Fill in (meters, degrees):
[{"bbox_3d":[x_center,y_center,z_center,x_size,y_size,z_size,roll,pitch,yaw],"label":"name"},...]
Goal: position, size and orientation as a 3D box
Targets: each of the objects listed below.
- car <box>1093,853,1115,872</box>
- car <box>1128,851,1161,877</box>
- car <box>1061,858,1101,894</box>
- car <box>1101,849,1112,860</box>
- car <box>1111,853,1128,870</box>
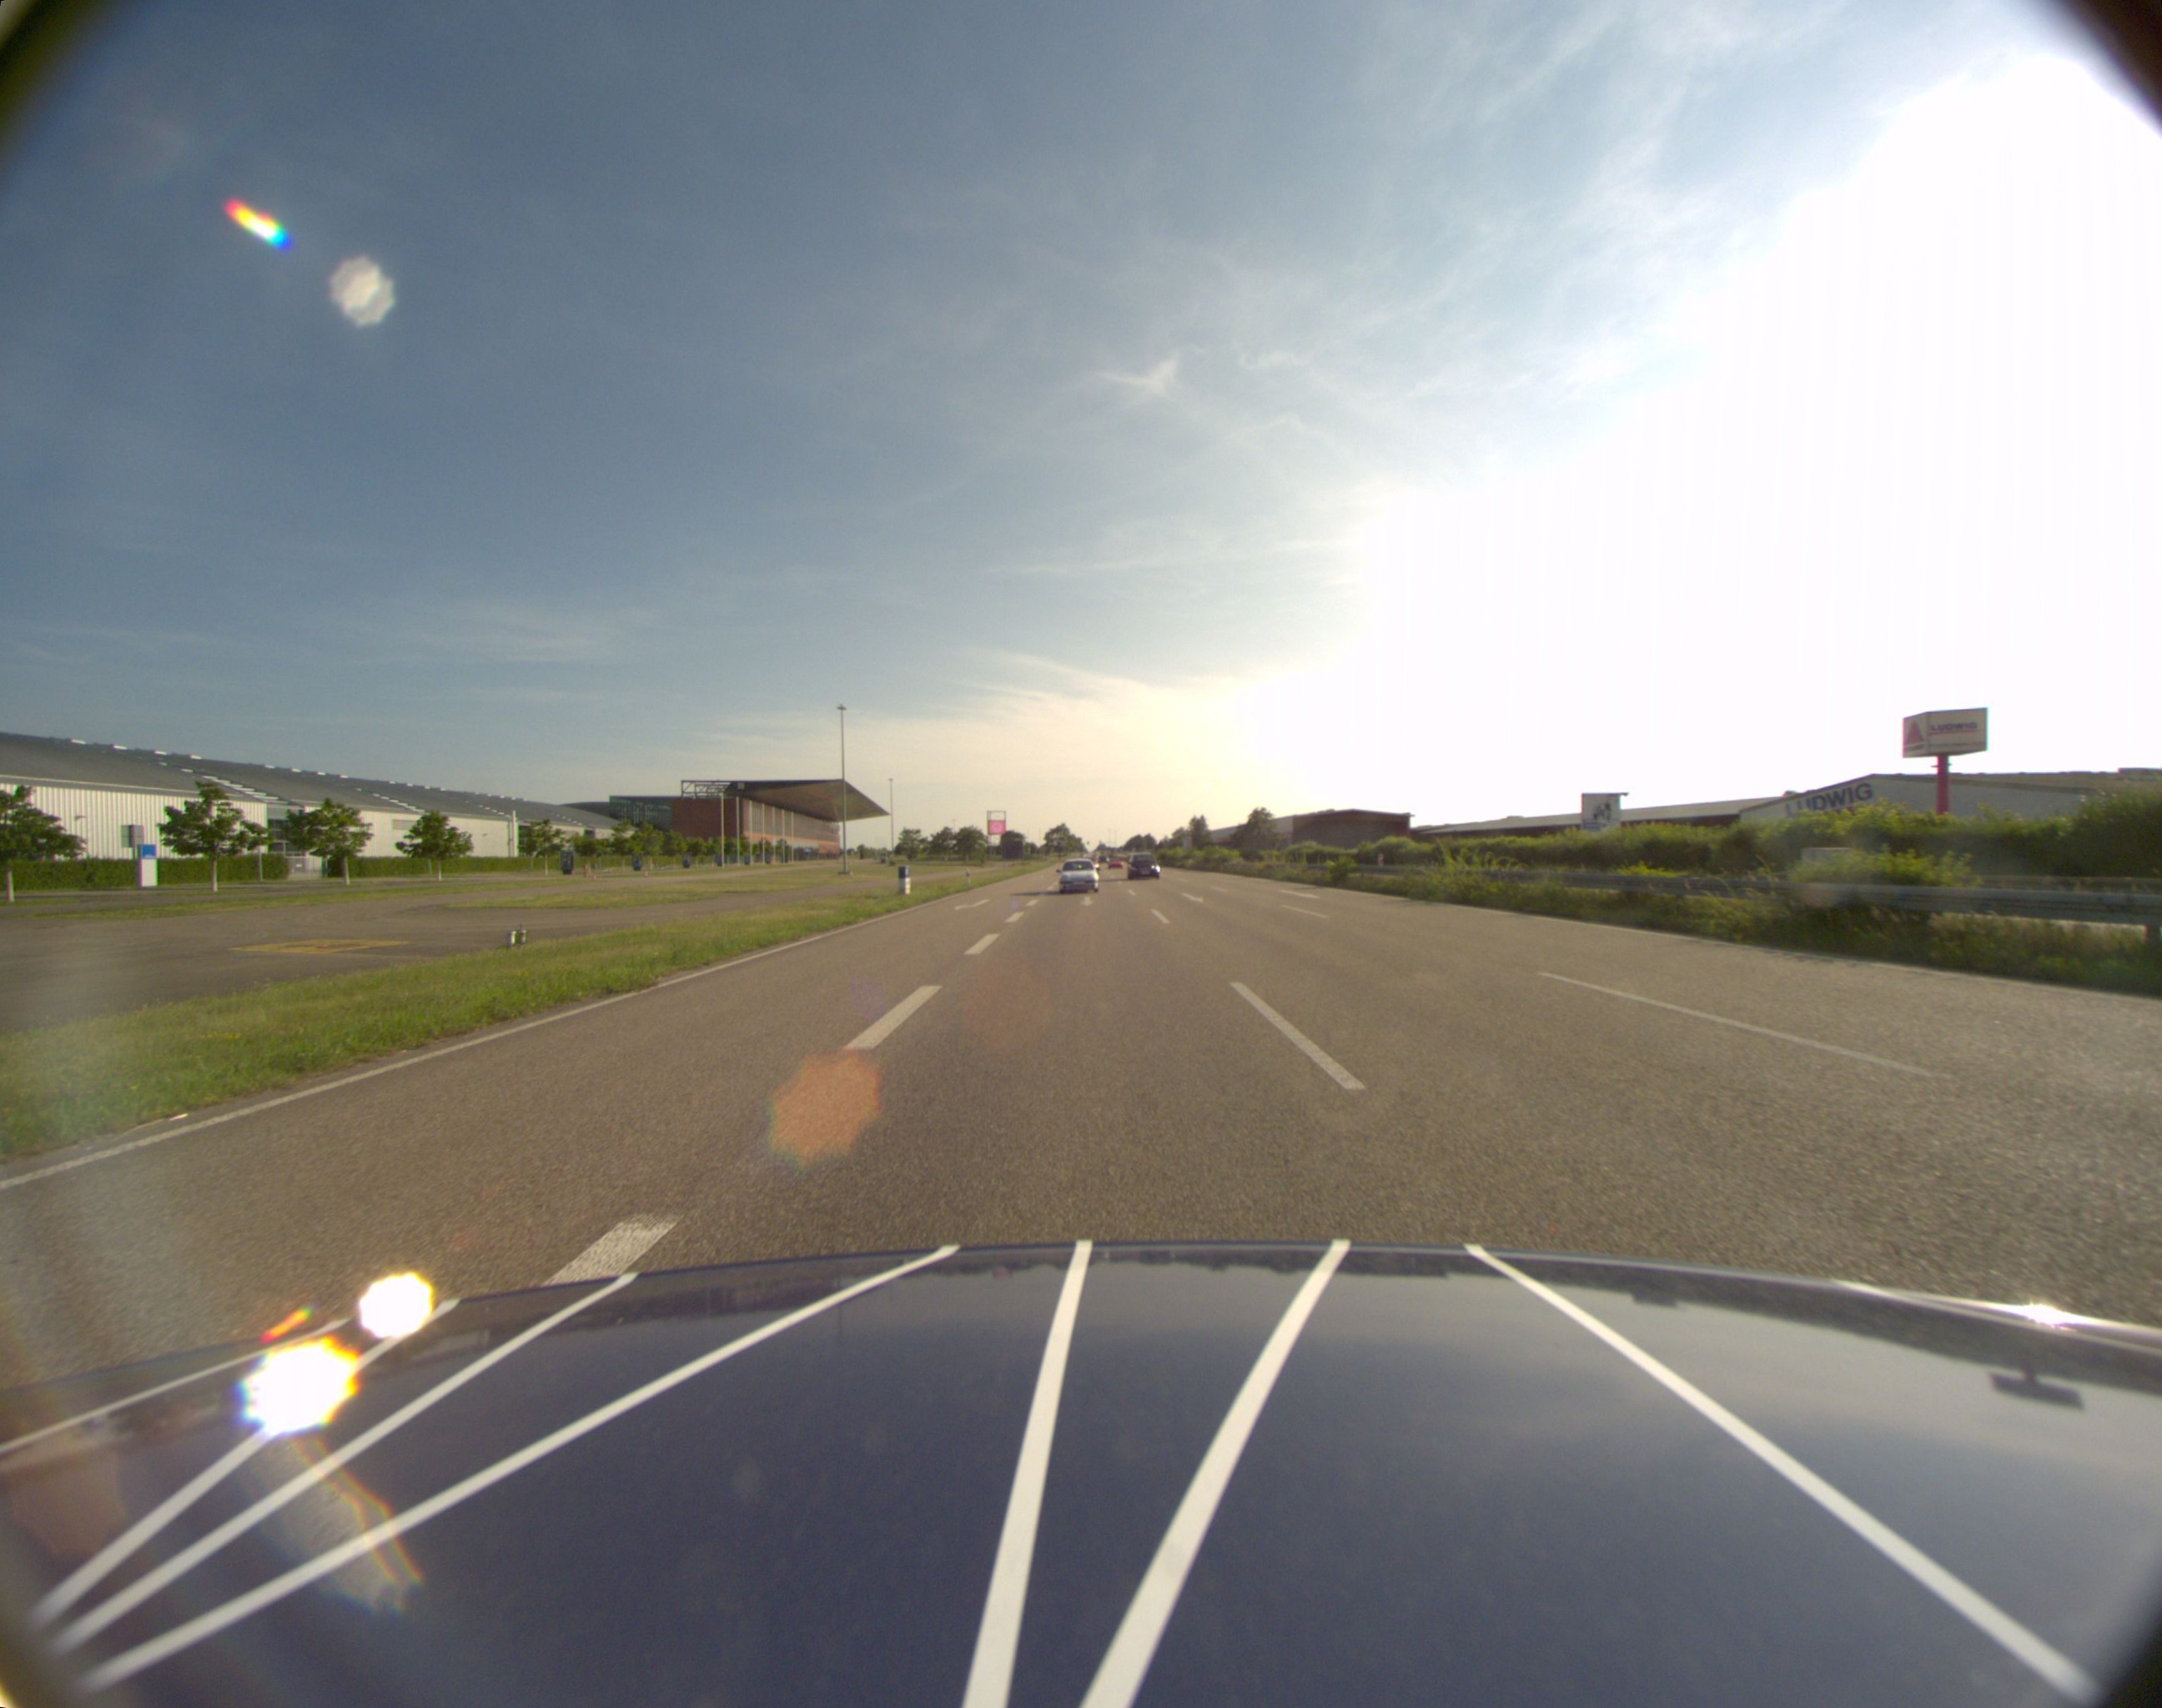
[{"bbox_3d":[1.931,0.686,65.385,1.751,1.512,3.739,-1,0,1],"label":"car"},{"bbox_3d":[3.829,0.595,46.332,1.758,1.499,3.422,-1,0,0],"label":"car"},{"bbox_3d":[0.029,0.890,32.538,1.578,1.371,3.451,-1,0,1],"label":"car"},{"bbox_3d":[4.785,0.131,144.270,1.998,2.002,4.000,-1,1,1],"label":"car"},{"bbox_3d":[4.533,0.867,90.489,1.799,1.926,4.000,-1,1,1],"label":"car"}]
